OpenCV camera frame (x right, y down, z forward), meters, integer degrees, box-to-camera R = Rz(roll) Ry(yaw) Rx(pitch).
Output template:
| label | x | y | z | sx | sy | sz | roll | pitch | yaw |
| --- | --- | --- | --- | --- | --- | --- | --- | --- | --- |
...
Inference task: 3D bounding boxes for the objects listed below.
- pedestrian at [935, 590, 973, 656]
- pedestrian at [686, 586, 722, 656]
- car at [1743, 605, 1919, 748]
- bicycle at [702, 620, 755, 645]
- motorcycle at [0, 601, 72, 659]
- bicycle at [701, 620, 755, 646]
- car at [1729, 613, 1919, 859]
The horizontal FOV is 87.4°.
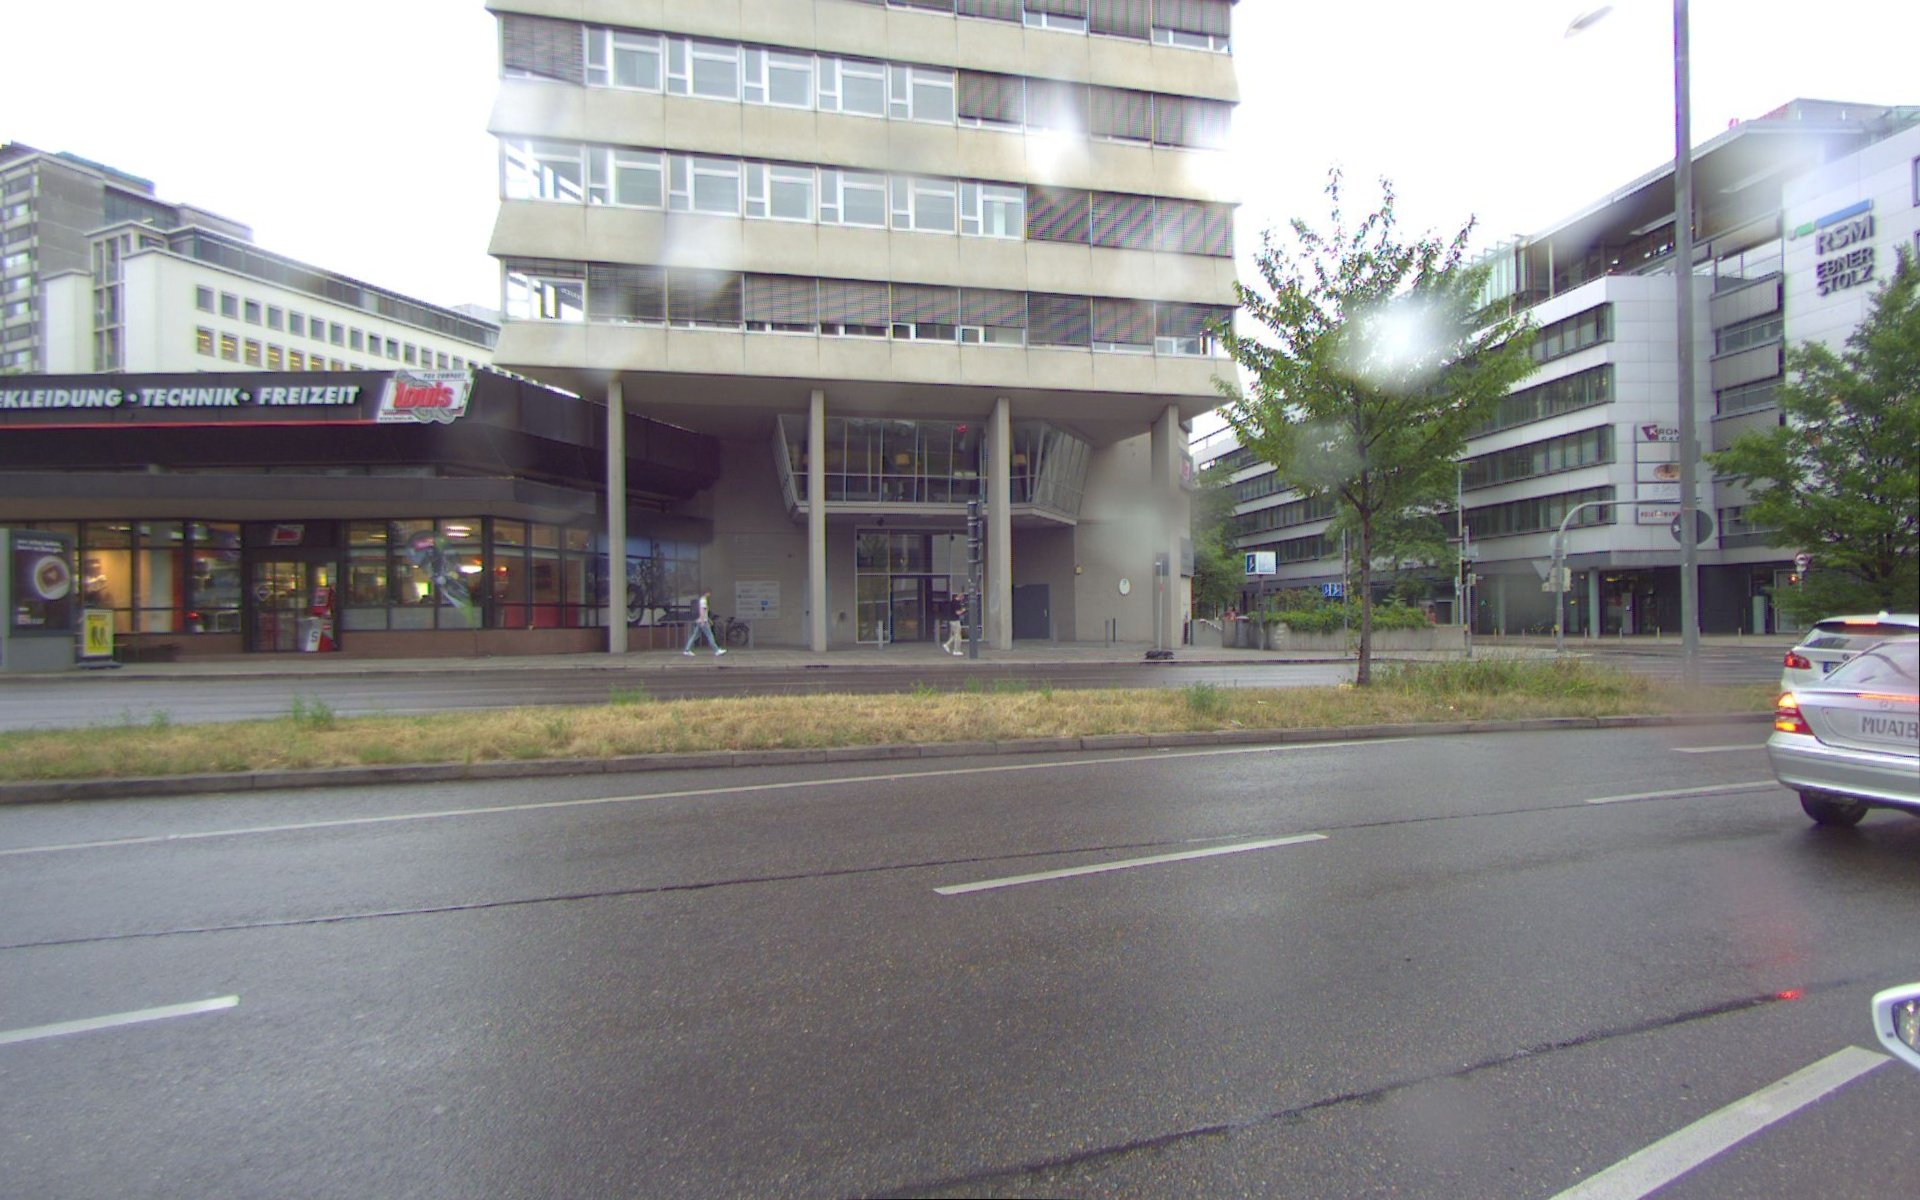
| label | x | y | z | sx | sy | sz | roll | pitch | yaw |
| --- | --- | --- | --- | --- | --- | --- | --- | --- | --- |
| pedestrian | -0.178 | 0.662 | 28.763 | 0.909 | 1.857 | 0.727 | 1 | -1 | -14 |
| pedestrian | -6.933 | 0.567 | 27.195 | 0.909 | 1.857 | 0.817 | 0 | 0 | -14 |
| car | 12.483 | 0.904 | 12.957 | 3.937 | 1.617 | 1.883 | 1 | 0 | -18 |
| bicycle | -7.921 | 1.120 | 34.475 | 1.743 | 0.823 | 0.454 | 1 | 0 | -12 |
| motorcycle | -23.576 | 0.730 | 24.691 | 0.788 | 1.392 | 2.893 | 1 | 0 | 3 |
| bicycle | -7.808 | 1.118 | 33.896 | 1.743 | 0.823 | 0.454 | 1 | 0 | -12 |
| car | 7.703 | 0.862 | 7.201 | 4.136 | 1.505 | 1.678 | 1 | -1 | -23 |
